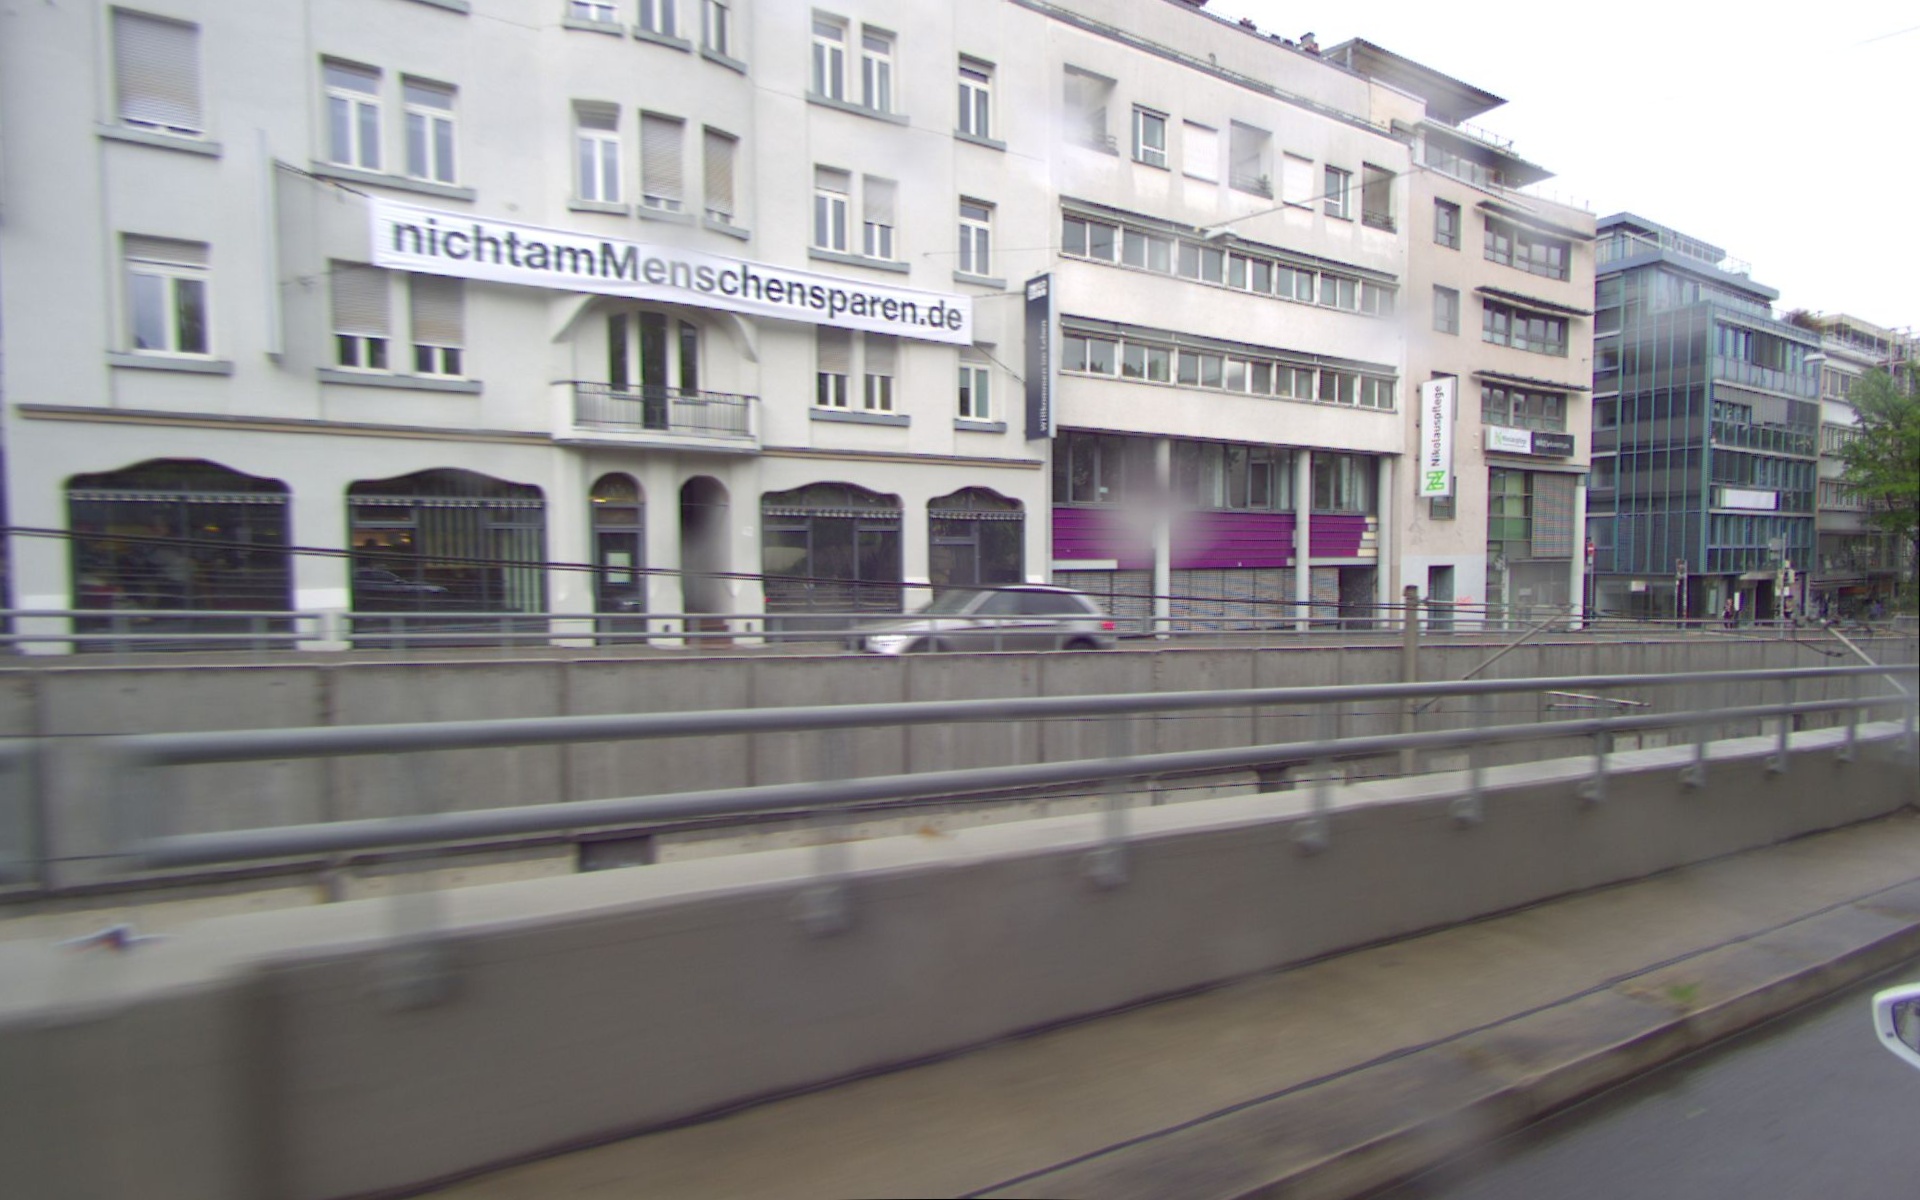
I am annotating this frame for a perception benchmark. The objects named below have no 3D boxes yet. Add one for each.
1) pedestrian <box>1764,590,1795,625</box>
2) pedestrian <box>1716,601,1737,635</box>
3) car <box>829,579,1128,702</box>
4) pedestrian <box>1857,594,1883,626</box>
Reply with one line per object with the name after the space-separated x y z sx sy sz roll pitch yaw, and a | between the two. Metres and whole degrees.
45.360 0.410 55.621 0.943 1.893 0.864 1 2 -13 | pedestrian
38.195 0.889 50.061 0.482 1.694 0.660 1 1 -32 | pedestrian
0.352 0.569 16.140 4.523 1.736 1.828 0 1 -30 | car
54.789 0.589 60.475 0.857 1.893 0.872 0 3 -33 | pedestrian
